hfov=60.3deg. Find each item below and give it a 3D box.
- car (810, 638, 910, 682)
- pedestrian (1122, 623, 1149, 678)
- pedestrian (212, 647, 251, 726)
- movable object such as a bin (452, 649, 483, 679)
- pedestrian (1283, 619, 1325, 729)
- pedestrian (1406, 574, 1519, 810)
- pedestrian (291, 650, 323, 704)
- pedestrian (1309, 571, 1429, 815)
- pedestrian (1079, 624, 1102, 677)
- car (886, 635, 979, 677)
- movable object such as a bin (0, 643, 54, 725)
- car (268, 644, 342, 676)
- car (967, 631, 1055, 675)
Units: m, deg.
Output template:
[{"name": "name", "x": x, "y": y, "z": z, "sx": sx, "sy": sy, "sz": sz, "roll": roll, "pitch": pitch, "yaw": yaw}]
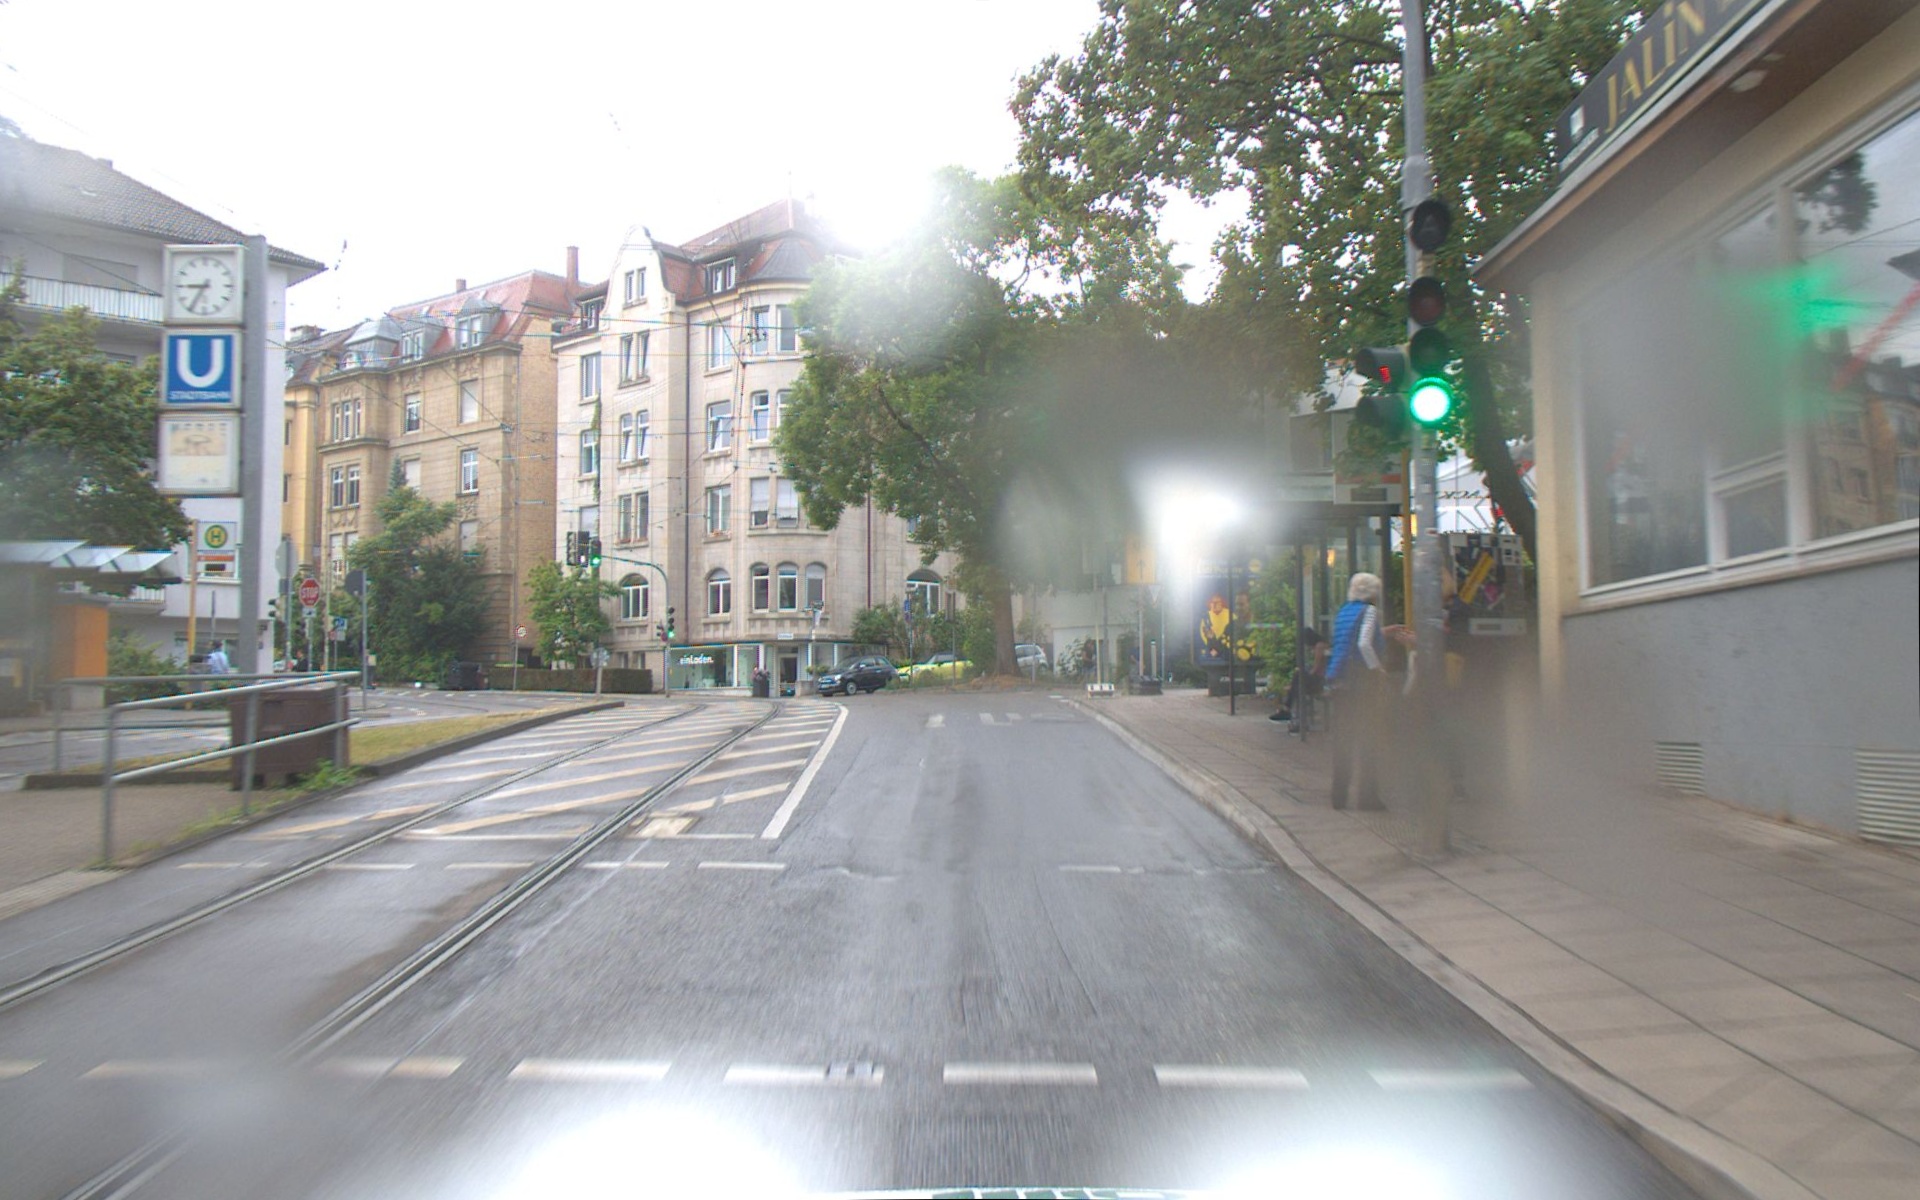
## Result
[{"name": "car", "x": -3.927, "y": 2.373, "z": 65.173, "sx": 3.640, "sy": 1.534, "sz": 1.710, "roll": -2, "pitch": -1, "yaw": -43}, {"name": "pedestrian", "x": 5.291, "y": 1.517, "z": 49.930, "sx": 0.539, "sy": 1.658, "sz": 0.595, "roll": 1, "pitch": 0, "yaw": -34}, {"name": "pedestrian", "x": -16.061, "y": 1.894, "z": 36.471, "sx": 0.557, "sy": 1.713, "sz": 0.774, "roll": -2, "pitch": -2, "yaw": -8}, {"name": "movable object such as a bin", "x": -24.658, "y": 3.188, "z": 82.834, "sx": 0.805, "sy": 1.427, "sz": 1.226, "roll": 1, "pitch": 0, "yaw": 31}, {"name": "pedestrian", "x": 3.784, "y": 0.811, "z": 18.211, "sx": 0.318, "sy": 1.170, "sz": 0.317, "roll": -3, "pitch": 0, "yaw": -4}, {"name": "pedestrian", "x": 3.499, "y": 0.622, "z": 11.546, "sx": 0.534, "sy": 1.581, "sz": 0.558, "roll": -3, "pitch": 0, "yaw": -3}, {"name": "pedestrian", "x": -21.210, "y": 2.493, "z": 53.698, "sx": 0.662, "sy": 1.729, "sz": 0.740, "roll": 1, "pitch": 0, "yaw": 45}, {"name": "pedestrian", "x": 2.760, "y": 0.611, "z": 11.209, "sx": 0.576, "sy": 1.581, "sz": 0.650, "roll": -3, "pitch": 0, "yaw": -1}, {"name": "pedestrian", "x": 4.038, "y": 1.555, "z": 51.189, "sx": 0.589, "sy": 1.593, "sz": 0.544, "roll": 1, "pitch": 0, "yaw": -11}, {"name": "car", "x": -1.115, "y": 2.305, "z": 68.317, "sx": 3.641, "sy": 1.534, "sz": 1.710, "roll": -2, "pitch": -1, "yaw": -43}, {"name": "movable object such as a bin", "x": -14.631, "y": 1.252, "z": 25.080, "sx": 1.000, "sy": 1.158, "sz": 1.343, "roll": 1, "pitch": 0, "yaw": 1}, {"name": "car", "x": -33.805, "y": 3.085, "z": 85.309, "sx": 3.923, "sy": 1.415, "sz": 1.763, "roll": 1, "pitch": -3, "yaw": 38}, {"name": "car", "x": 2.222, "y": 2.285, "z": 71.328, "sx": 1.596, "sy": 1.534, "sz": 3.750, "roll": -7, "pitch": -2, "yaw": 43}]
